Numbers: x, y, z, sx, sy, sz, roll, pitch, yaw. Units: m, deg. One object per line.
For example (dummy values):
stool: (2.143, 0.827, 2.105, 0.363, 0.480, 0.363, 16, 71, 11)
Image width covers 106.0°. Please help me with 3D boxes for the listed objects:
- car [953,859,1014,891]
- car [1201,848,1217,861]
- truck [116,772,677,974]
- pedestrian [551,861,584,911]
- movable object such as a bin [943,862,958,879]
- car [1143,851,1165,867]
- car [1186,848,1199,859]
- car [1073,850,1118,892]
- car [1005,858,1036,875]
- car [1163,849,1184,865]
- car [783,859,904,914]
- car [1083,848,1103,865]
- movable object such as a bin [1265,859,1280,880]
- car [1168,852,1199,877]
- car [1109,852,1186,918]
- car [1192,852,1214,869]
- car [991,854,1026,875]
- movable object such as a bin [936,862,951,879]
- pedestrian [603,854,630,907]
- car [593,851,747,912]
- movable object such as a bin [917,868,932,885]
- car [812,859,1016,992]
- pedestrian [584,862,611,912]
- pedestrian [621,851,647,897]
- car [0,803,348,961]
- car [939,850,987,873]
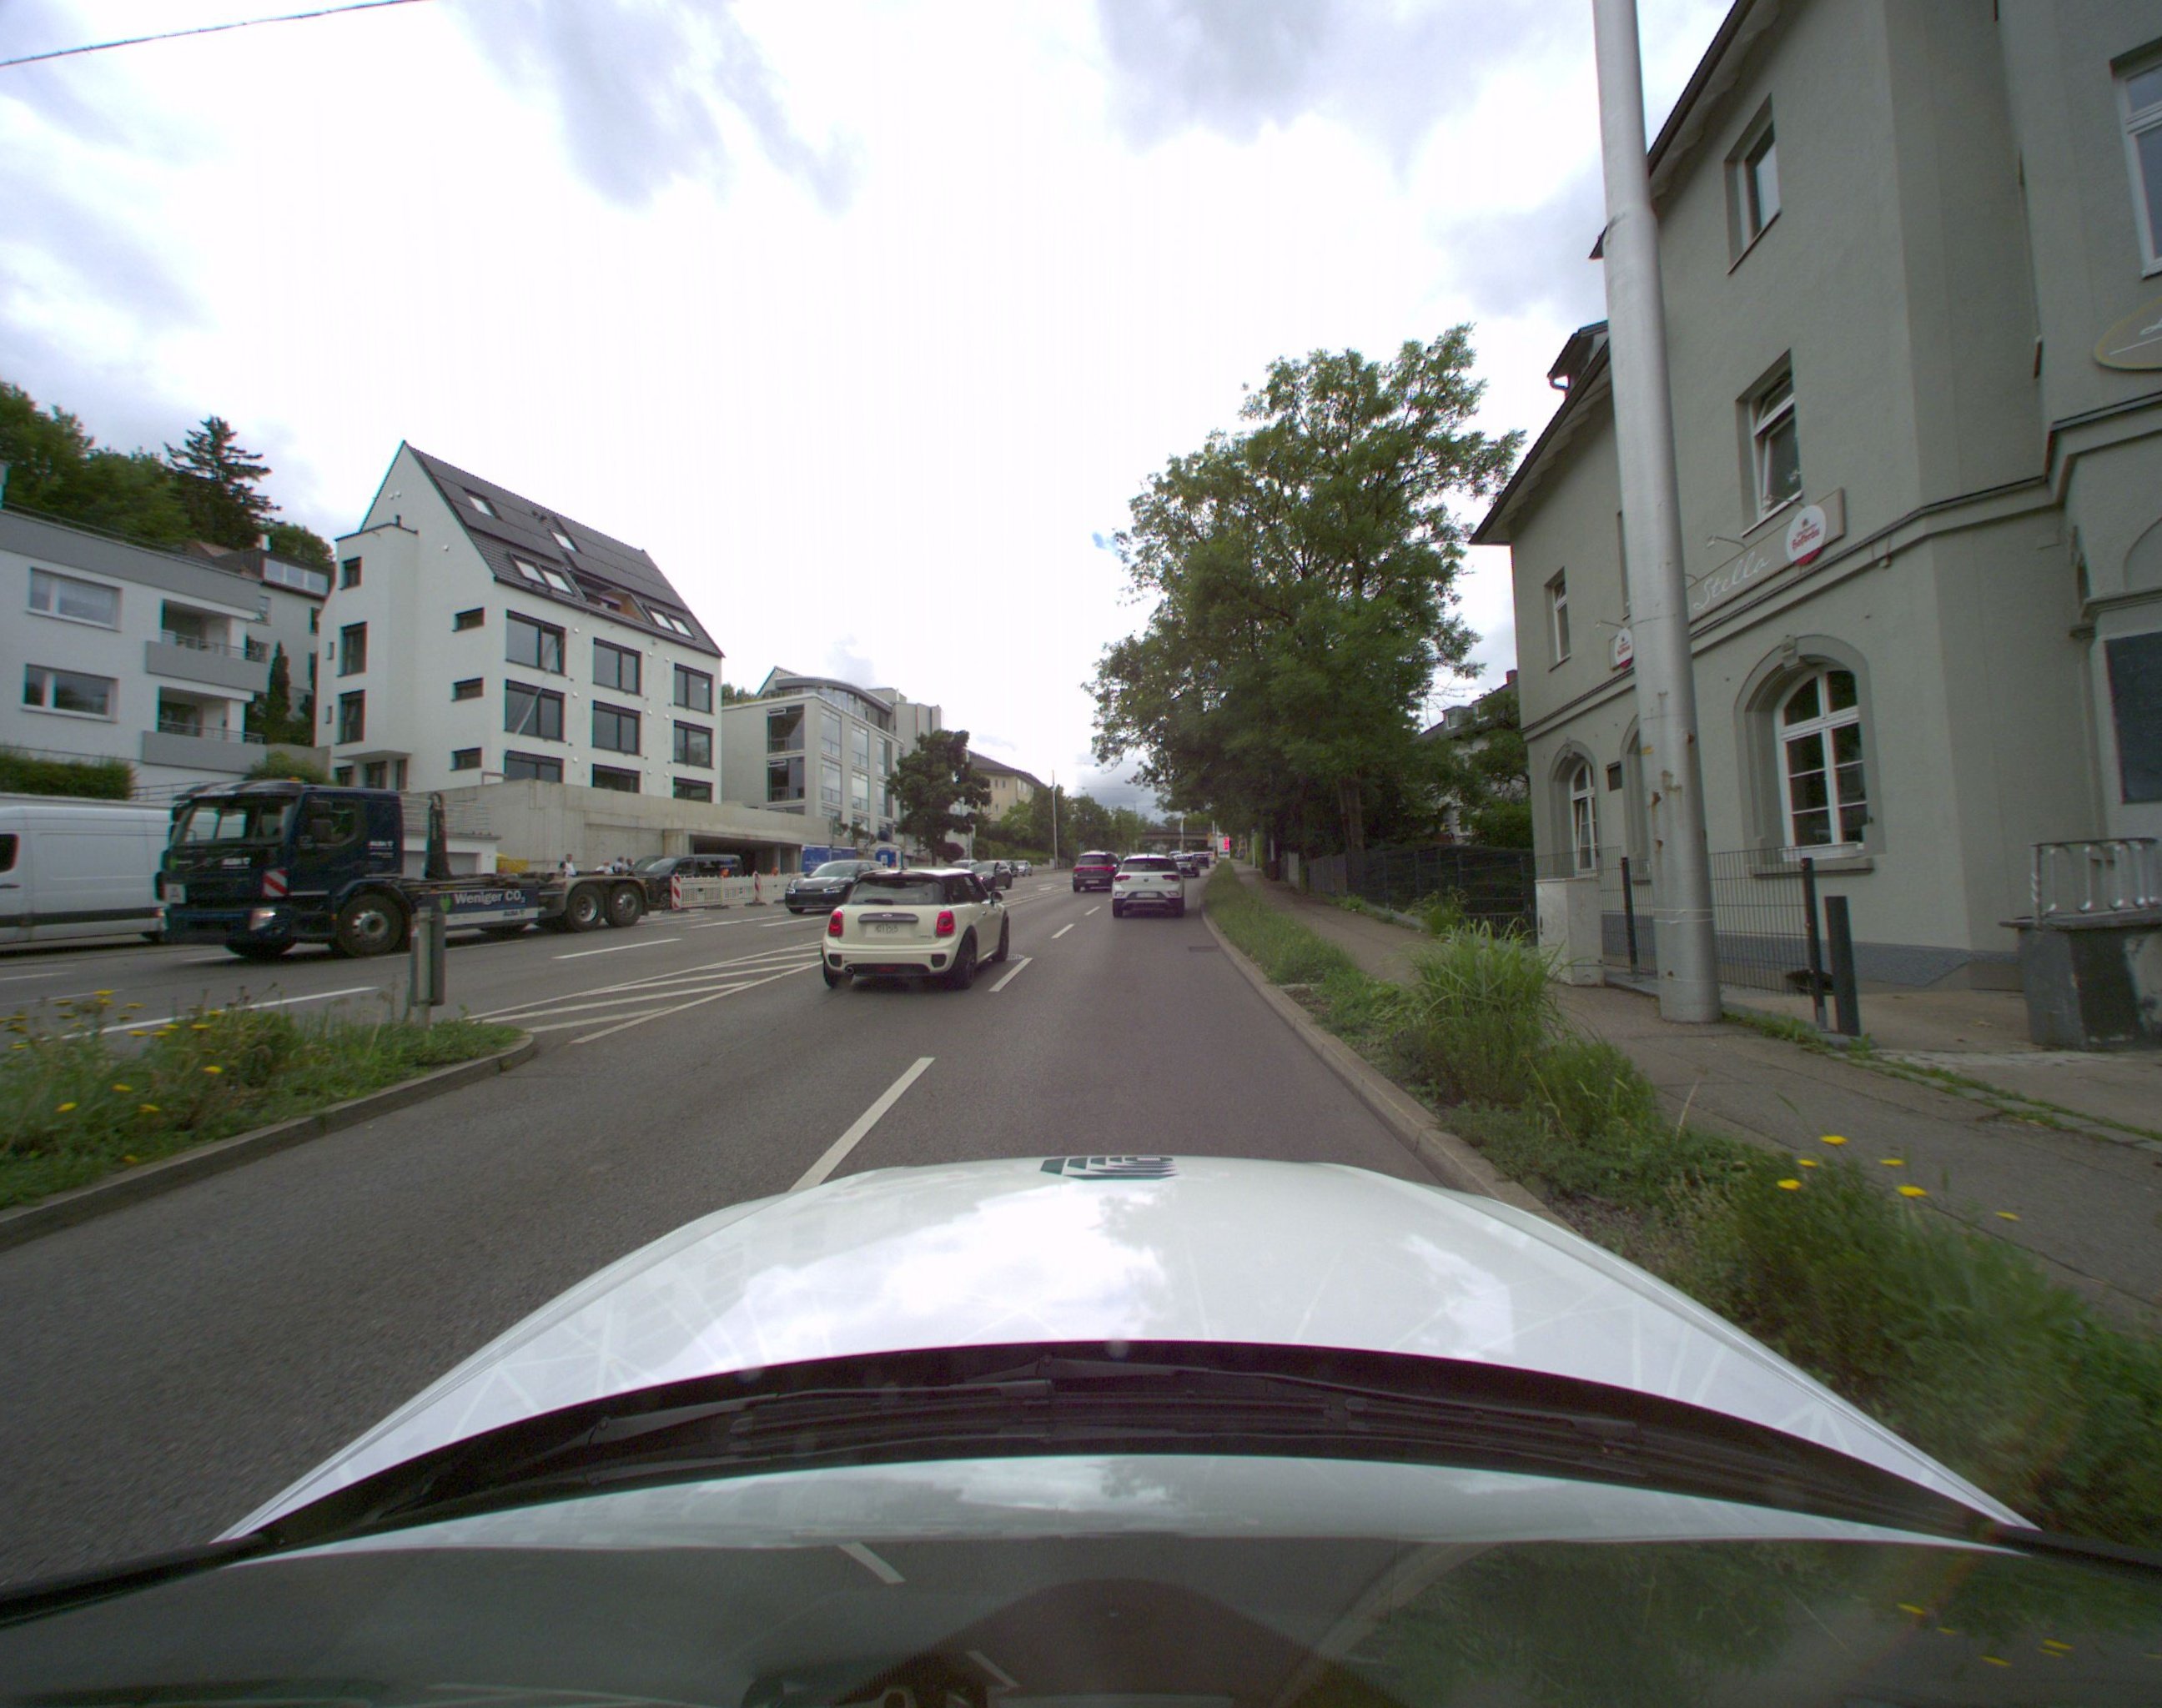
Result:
car: (-4.696, 1.006, 39.884, 1.832, 1.393, 4.295, -1, 0, 9)
car: (15.979, 0.073, 101.689, 1.847, 1.500, 4.066, -2, 0, 9)
truck: (-12.525, 0.262, 16.640, 2.943, 2.971, 9.001, 0, 0, 9)
pedestrian: (-17.339, 1.067, 27.492, 0.620, 1.640, 0.676, 1, 0, 25)
movable object such as a bin: (-7.761, 0.989, 48.283, 0.640, 0.990, 0.663, -1, 0, 18)
car: (7.849, 0.505, 87.450, 1.759, 1.596, 5.201, -1, 0, 12)
car: (16.811, -0.121, 122.894, 1.847, 1.500, 4.066, -2, 0, 9)
car: (0.589, 0.696, 35.402, 1.807, 1.652, 4.635, -2, 0, 0)
car: (-5.425, 1.120, 73.420, 1.759, 1.407, 4.155, -1, 0, 11)
car: (10.056, 0.336, 87.996, 1.846, 1.652, 4.650, -2, 0, 11)
car: (-7.109, 0.913, 24.929, 1.685, 1.496, 4.499, 0, 0, 11)
car: (1.787, 0.301, 116.579, 2.056, 2.305, 5.479, -1, 0, 9)
movable object such as a bin: (8.601, 0.697, 36.574, 0.552, 0.947, 0.568, -1, 0, 6)
car: (6.527, 0.669, 51.918, 1.863, 1.501, 4.563, 2, 0, 7)
car: (1.775, 0.752, 21.546, 1.803, 1.539, 3.695, -2, 0, 5)
car: (11.432, 0.624, 75.932, 1.862, 1.501, 4.567, 2, 0, 10)
car: (-6.023, 0.880, 67.951, 1.758, 1.634, 3.930, -1, 0, 13)
movable object such as a bin: (-8.032, 0.962, 47.661, 0.640, 1.015, 0.663, -1, 0, 18)
pedestrian: (-16.418, 0.937, 28.784, 0.679, 1.840, 0.664, 1, 0, -40)
car: (-14.550, 0.910, 29.255, 1.968, 1.967, 5.237, -1, 0, 13)
movable object such as a bin: (-8.687, 1.255, 45.210, 0.660, 0.879, 0.642, -1, 0, -22)
car: (-1.993, 0.806, 10.767, 1.620, 1.393, 3.571, -2, 0, 5)
pedestrian: (-16.430, 1.116, 27.671, 0.679, 1.640, 0.664, 1, 0, -40)
pedestrian: (-16.365, 0.710, 29.812, 0.679, 1.640, 0.664, 1, 0, -40)
car: (-18.414, 0.464, 15.062, 2.218, 2.568, 7.440, -1, 0, 8)
car: (-8.070, 0.465, 55.916, 1.758, 1.499, 4.320, -1, 0, 13)
